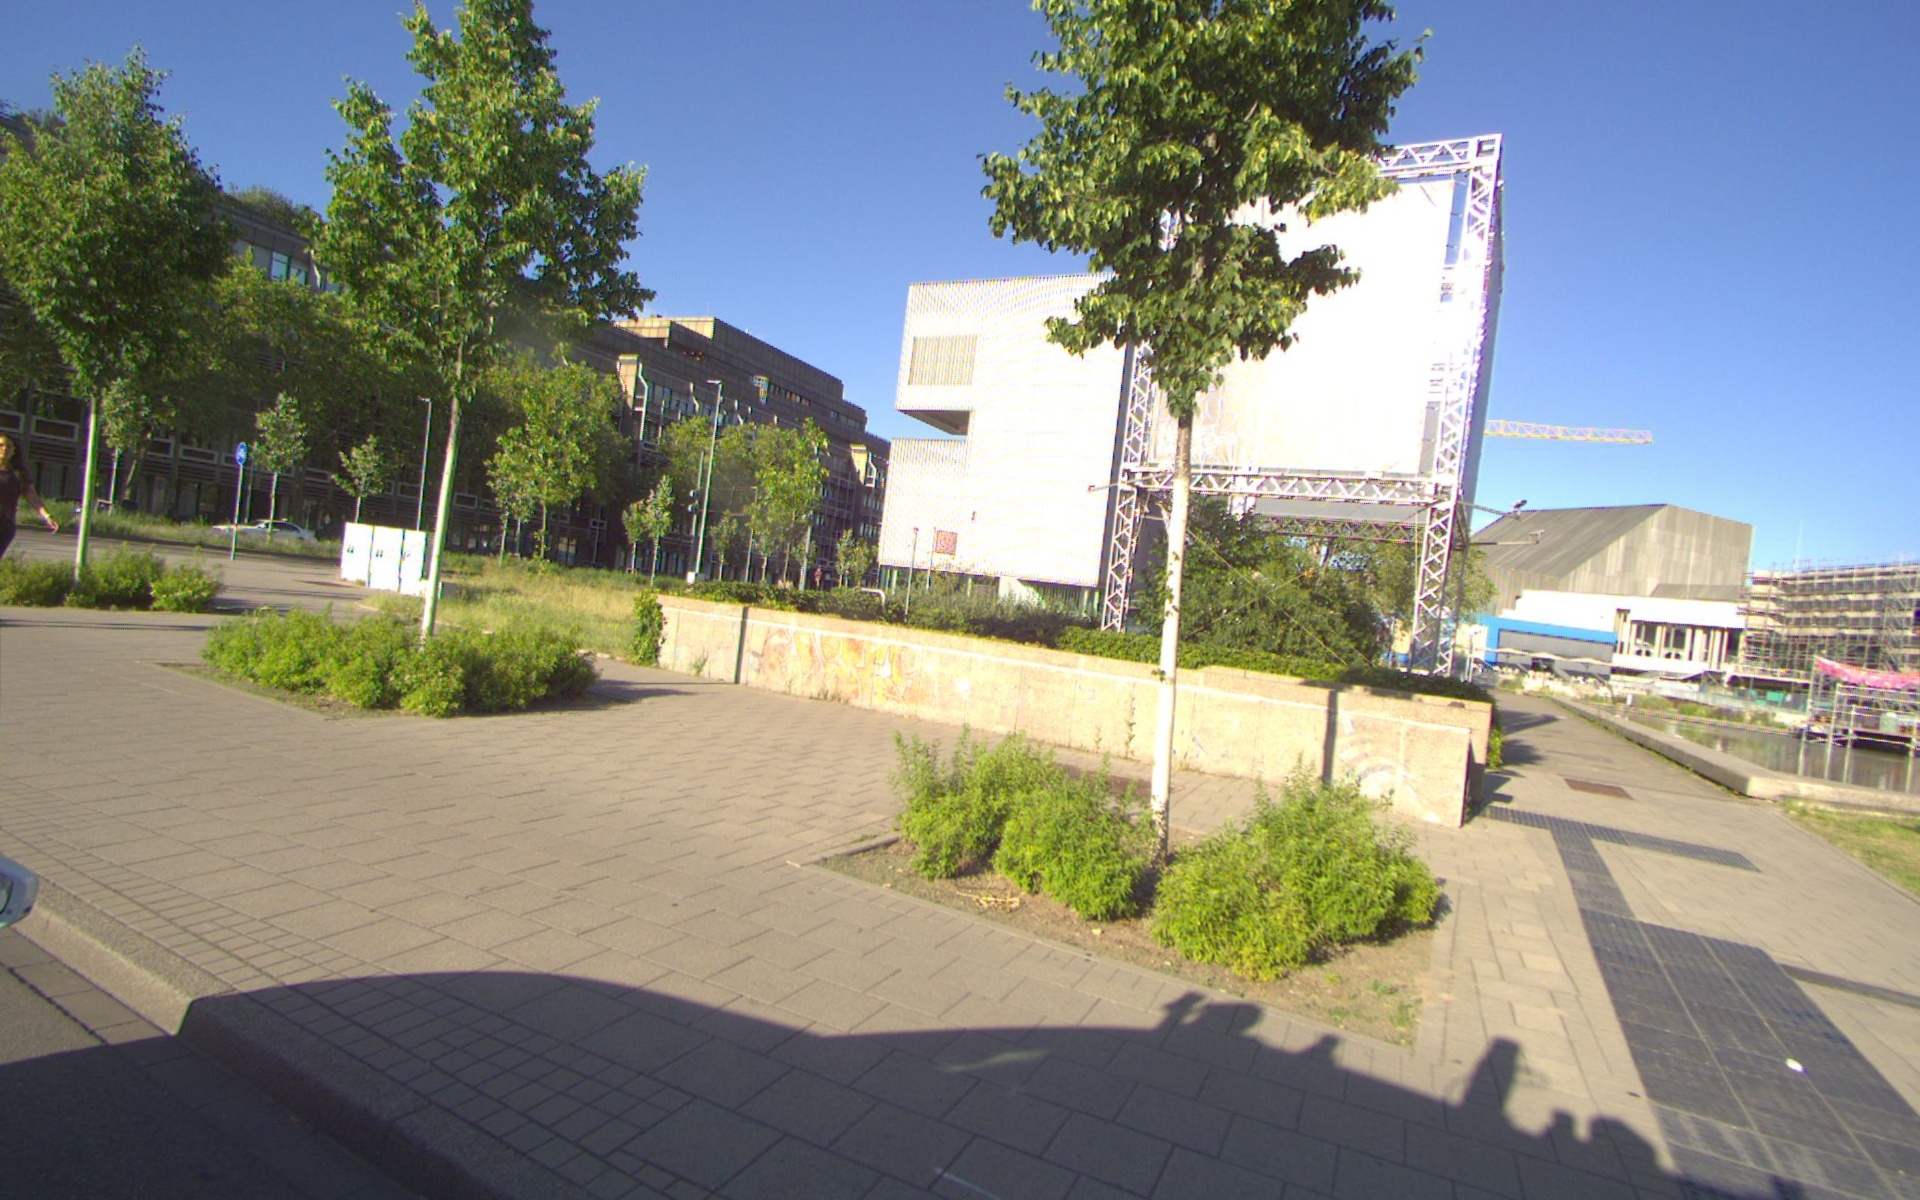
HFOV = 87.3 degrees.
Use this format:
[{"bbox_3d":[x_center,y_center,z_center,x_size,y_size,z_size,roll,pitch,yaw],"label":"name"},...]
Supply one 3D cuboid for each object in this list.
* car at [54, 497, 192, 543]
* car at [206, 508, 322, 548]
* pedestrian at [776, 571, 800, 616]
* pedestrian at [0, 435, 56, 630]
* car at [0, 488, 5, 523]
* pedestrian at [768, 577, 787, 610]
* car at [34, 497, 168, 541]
[{"bbox_3d":[-40.143,-3.806,48.393,1.965,1.373,4.642,8,0,26],"label":"car"},{"bbox_3d":[-37.219,-3.847,53.937,1.965,1.373,4.642,8,0,26],"label":"car"},{"bbox_3d":[-8.236,-0.306,48.178,0.669,2.039,0.620,7,1,22],"label":"pedestrian"},{"bbox_3d":[-9.217,-0.668,9.514,0.817,1.771,1.030,5,2,-38],"label":"pedestrian"},{"bbox_3d":[-39.866,-3.996,38.283,1.965,1.373,4.642,8,0,26],"label":"car"},{"bbox_3d":[-9.176,-0.316,50.525,0.513,1.591,0.620,7,1,22],"label":"pedestrian"},{"bbox_3d":[-43.020,-4.040,50.516,1.965,1.373,4.642,8,0,26],"label":"car"}]
